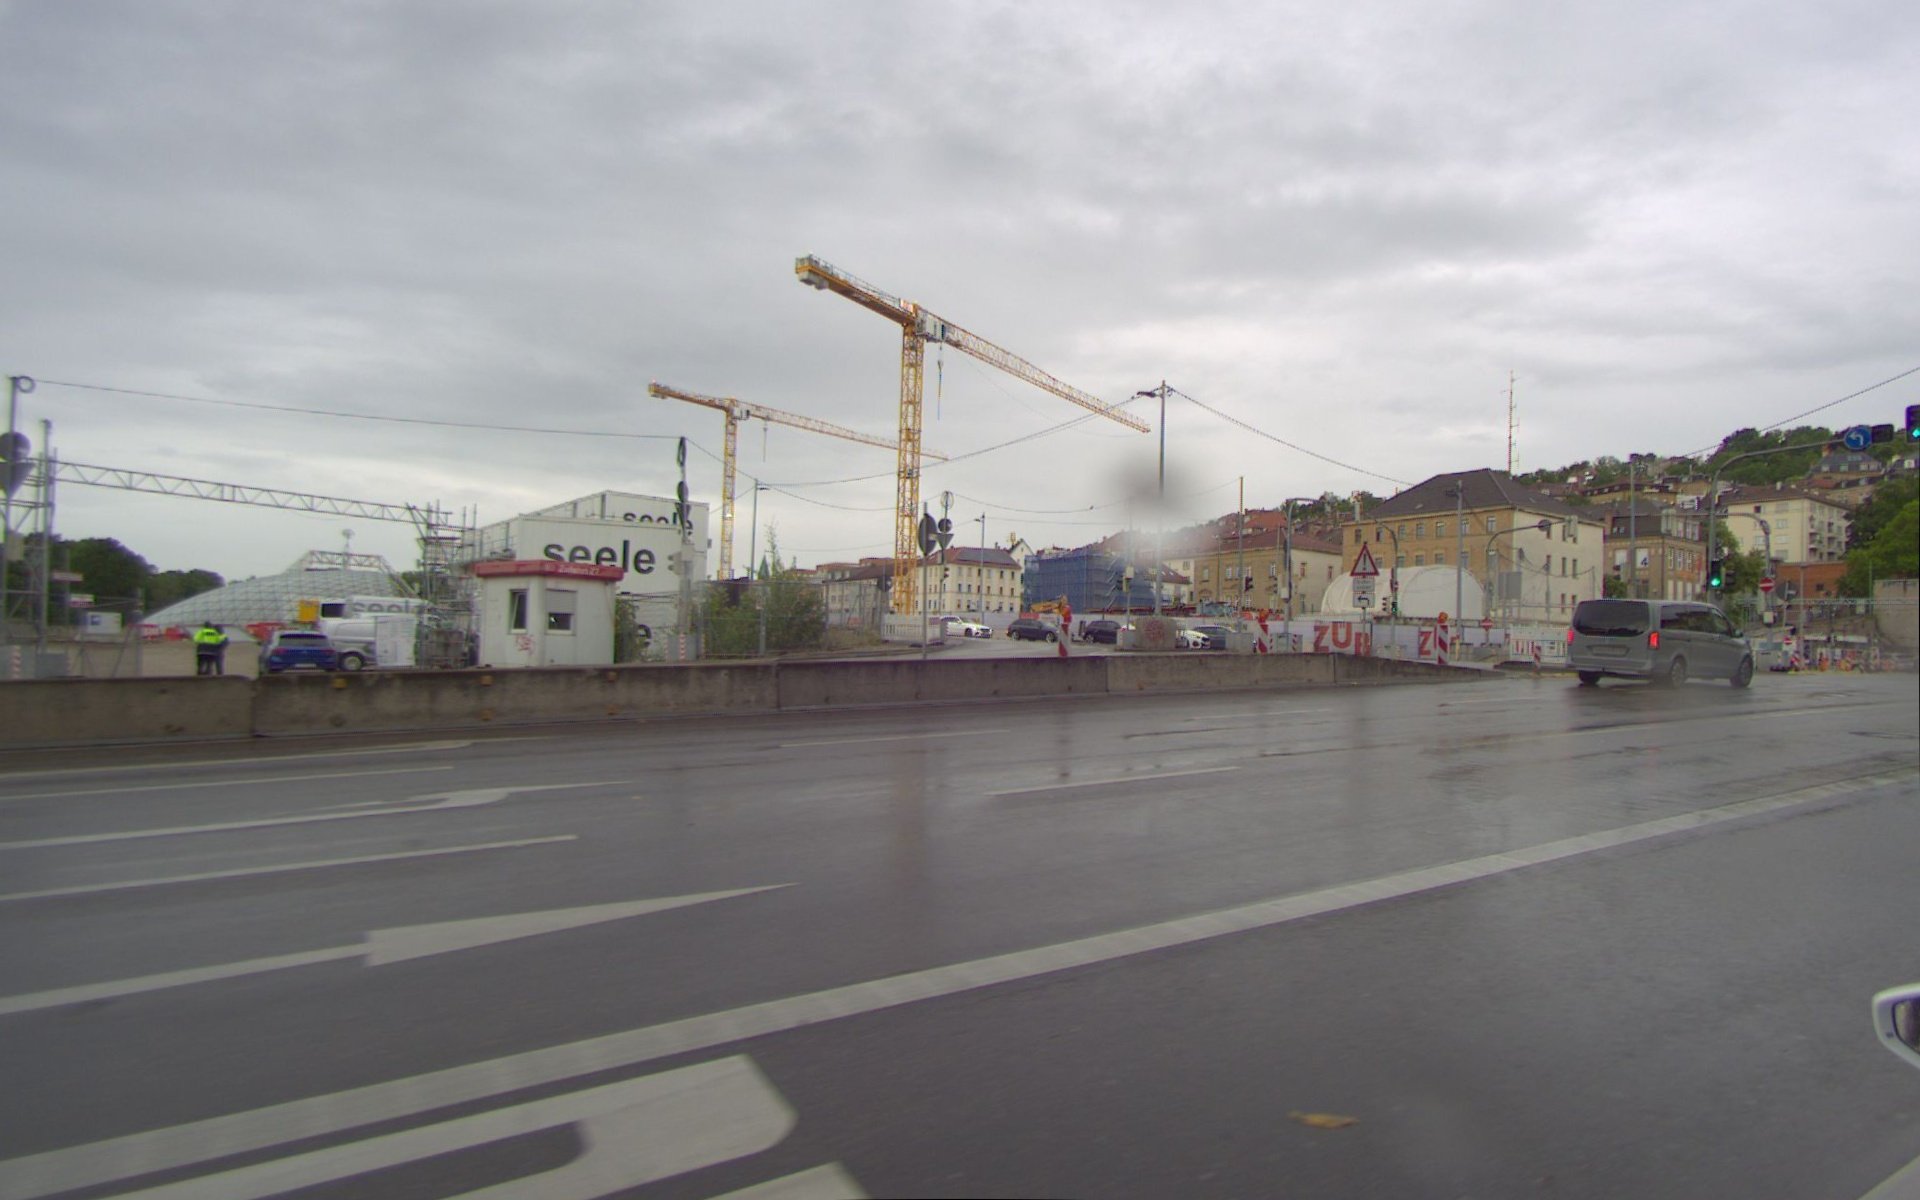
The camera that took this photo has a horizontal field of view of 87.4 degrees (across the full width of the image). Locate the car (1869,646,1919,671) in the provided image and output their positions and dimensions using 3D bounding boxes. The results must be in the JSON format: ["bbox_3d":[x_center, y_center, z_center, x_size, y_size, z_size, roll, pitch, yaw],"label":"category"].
[{"bbox_3d":[62.062,3.827,66.374,1.747,1.483,3.998,1,-1,23],"label":"car"}]

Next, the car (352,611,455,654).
[{"bbox_3d":[-26.511,1.581,47.933,3.969,1.966,1.976,2,-3,-41],"label":"car"}]

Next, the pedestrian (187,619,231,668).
[{"bbox_3d":[-21.396,1.221,28.633,0.826,1.370,0.740,1,-1,-24],"label":"pedestrian"}]

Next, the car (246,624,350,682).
[{"bbox_3d":[-20.081,1.549,30.418,1.986,1.528,3.949,2,-1,-43],"label":"car"}]

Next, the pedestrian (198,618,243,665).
[{"bbox_3d":[-21.755,1.212,29.539,0.822,1.370,0.744,0,-1,24],"label":"pedestrian"}]

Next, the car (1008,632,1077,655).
[{"bbox_3d":[5.066,2.673,62.162,1.639,1.194,4.234,1,0,-43],"label":"car"}]

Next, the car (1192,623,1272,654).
[{"bbox_3d":[14.574,2.037,53.836,3.744,1.586,1.852,-1,-2,40],"label":"car"}]

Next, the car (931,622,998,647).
[{"bbox_3d":[0.273,2.310,67.378,1.986,1.578,4.468,2,-2,-43],"label":"car"}]

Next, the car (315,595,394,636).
[{"bbox_3d":[-36.767,0.992,61.109,2.125,2.415,4.003,0,-2,5],"label":"car"}]

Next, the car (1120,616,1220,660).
[{"bbox_3d":[10.186,1.811,48.820,4.351,2.040,1.993,-1,-2,36],"label":"car"}]

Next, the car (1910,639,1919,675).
[{"bbox_3d":[50.893,2.964,52.276,1.754,1.773,3.983,0,-1,38],"label":"car"}]

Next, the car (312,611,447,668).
[{"bbox_3d":[-21.341,1.476,36.991,3.969,1.966,1.976,2,-3,-41],"label":"car"}]

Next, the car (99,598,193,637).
[{"bbox_3d":[-46.190,0.963,57.089,1.960,2.040,4.001,1,0,2],"label":"car"}]

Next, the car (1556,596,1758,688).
[{"bbox_3d":[15.458,0.925,22.229,4.631,1.863,1.983,2,-1,-31],"label":"car"}]

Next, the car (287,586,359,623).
[{"bbox_3d":[-43.450,0.365,68.619,2.129,2.415,4.003,0,-2,5],"label":"car"}]

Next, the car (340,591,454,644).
[{"bbox_3d":[-29.302,0.952,52.330,4.786,2.625,2.252,2,-2,-43],"label":"car"}]
